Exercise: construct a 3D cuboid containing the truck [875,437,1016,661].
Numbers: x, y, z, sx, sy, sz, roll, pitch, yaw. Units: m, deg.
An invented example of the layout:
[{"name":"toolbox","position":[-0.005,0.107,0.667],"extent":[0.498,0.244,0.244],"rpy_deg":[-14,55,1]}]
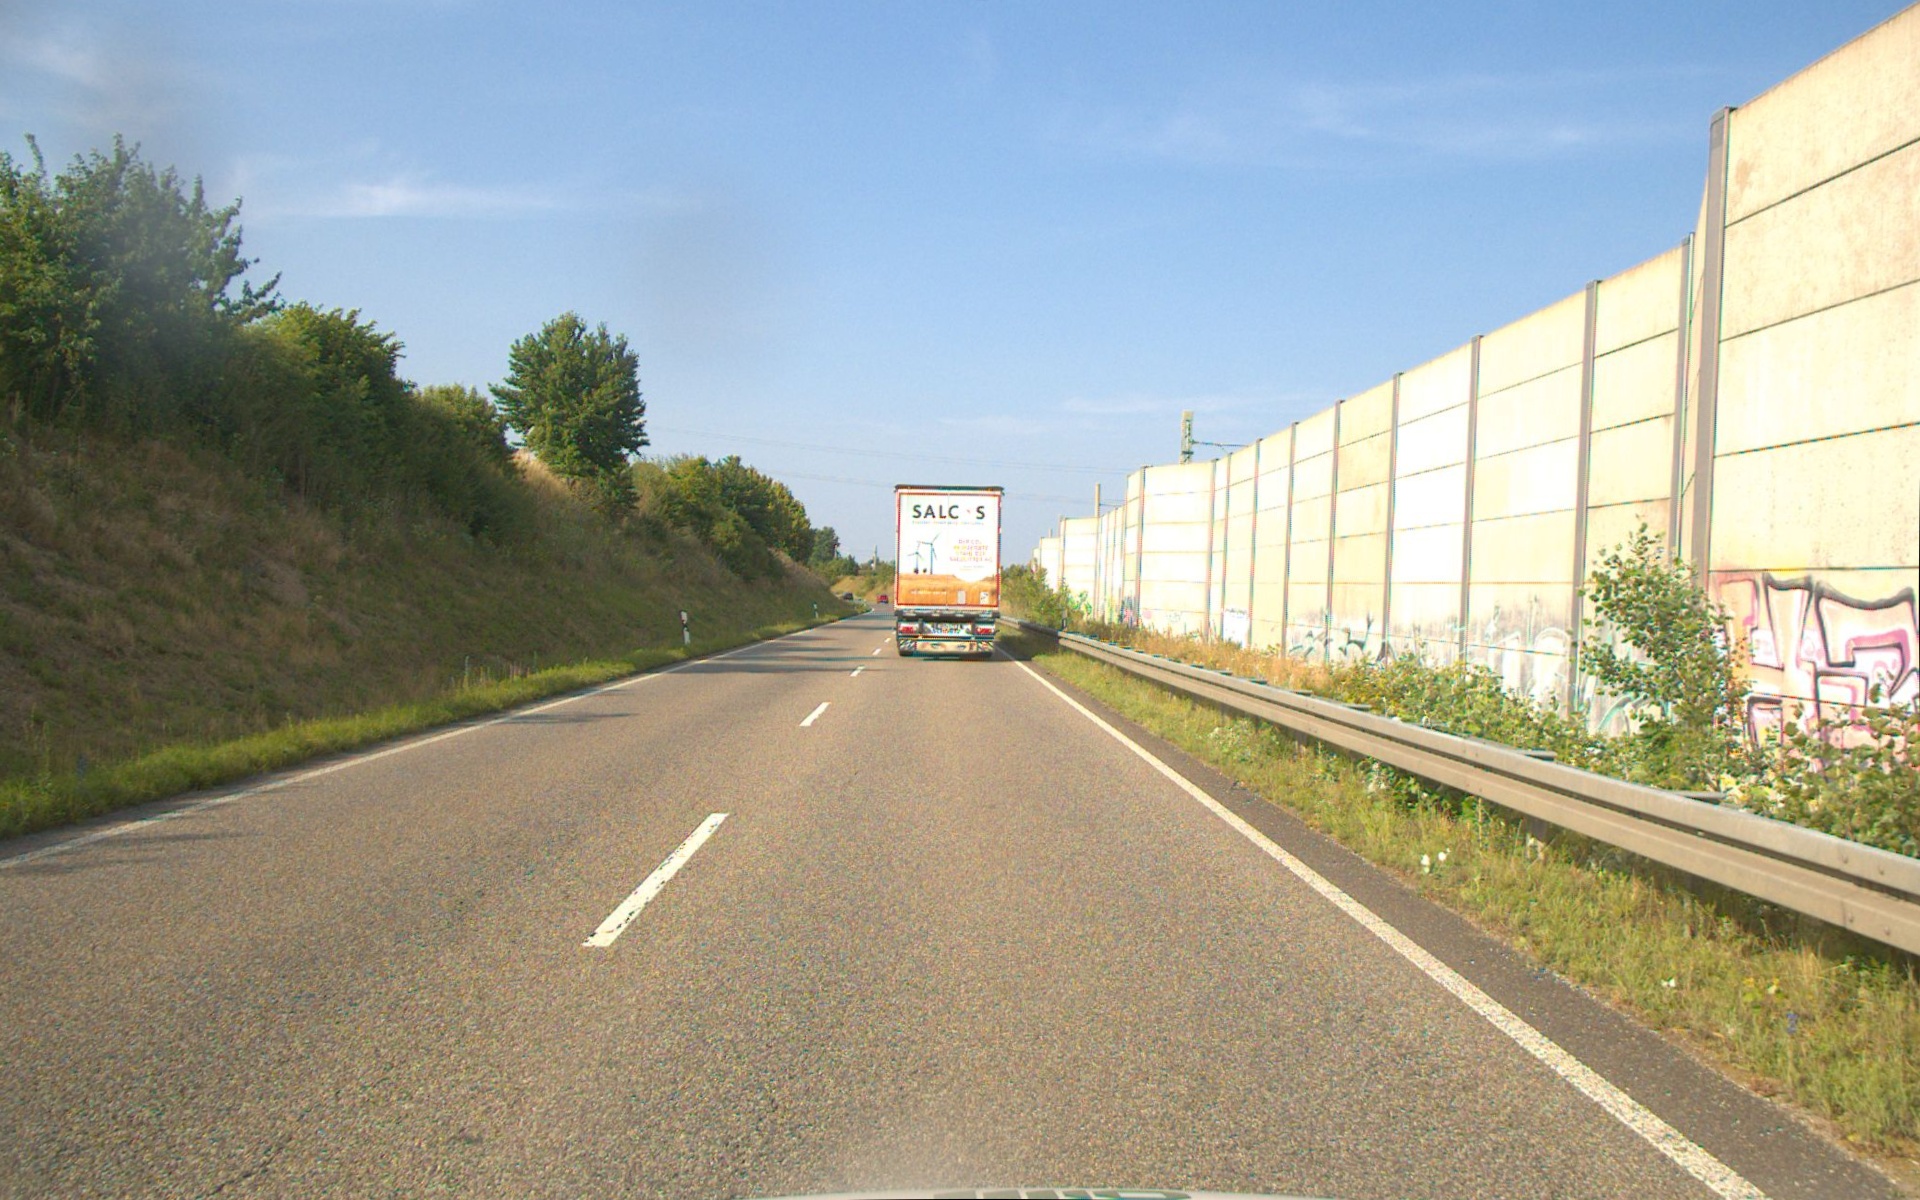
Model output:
[{"name":"truck","position":[-0.627,-1.266,44.655],"extent":[3.225,5.179,12.031],"rpy_deg":[1,1,-3]}]
